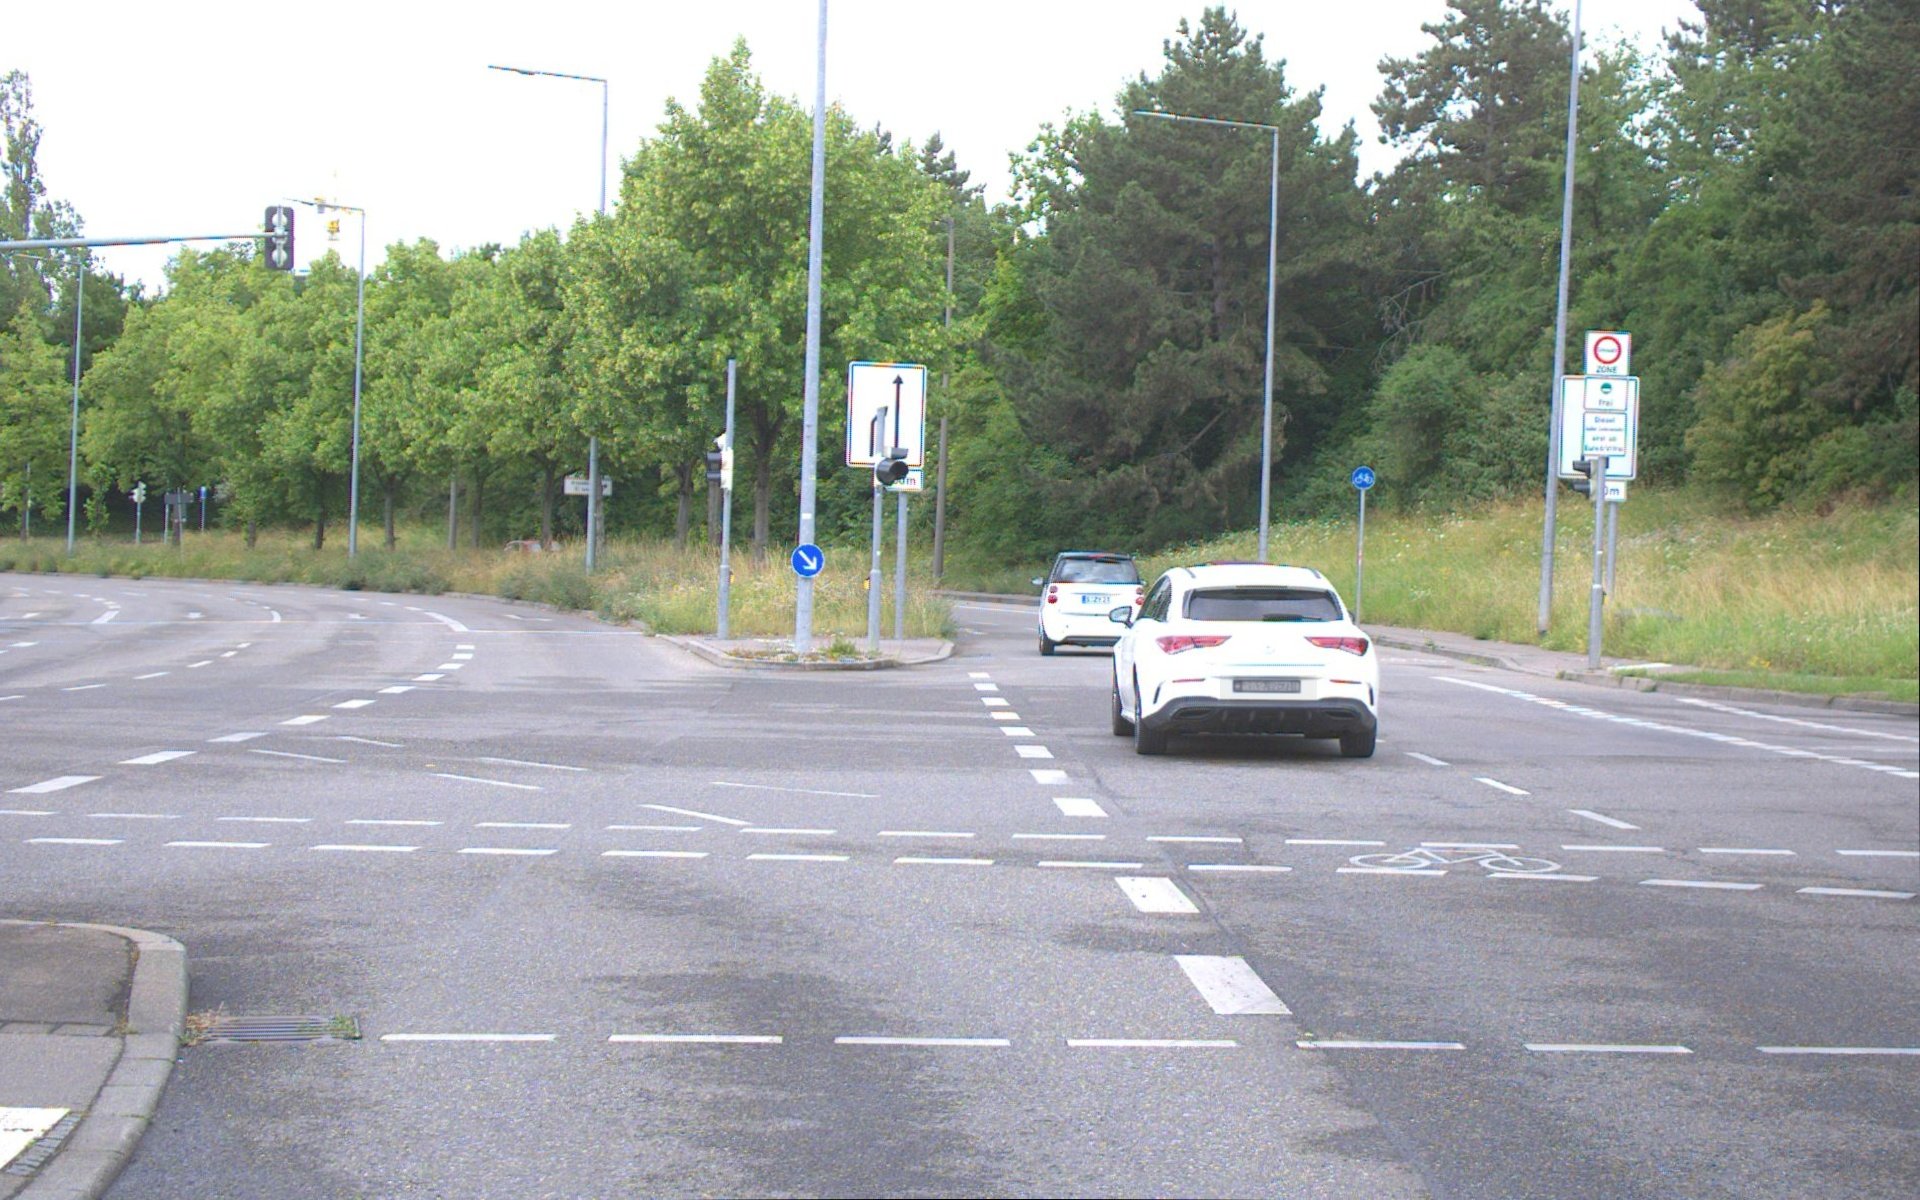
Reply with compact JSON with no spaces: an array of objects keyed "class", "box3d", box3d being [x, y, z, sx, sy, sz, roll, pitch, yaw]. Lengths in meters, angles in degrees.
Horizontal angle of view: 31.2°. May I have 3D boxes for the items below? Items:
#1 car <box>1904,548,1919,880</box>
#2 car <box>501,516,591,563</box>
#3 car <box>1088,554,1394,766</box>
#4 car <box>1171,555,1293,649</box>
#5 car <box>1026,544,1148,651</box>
[{"class":"car","box3d":[5.201,0.583,13.446,1.746,1.480,4.356,1,2,-1]},{"class":"car","box3d":[-14.597,-2.117,121.071,1.784,1.598,3.888,1,1,-29]},{"class":"car","box3d":[2.118,0.414,27.104,1.844,1.501,4.531,1,0,-2]},{"class":"car","box3d":[4.349,0.016,55.393,1.613,1.448,3.882,1,0,0]},{"class":"car","box3d":[1.859,-0.049,51.032,1.592,1.511,2.767,1,0,-2]}]
